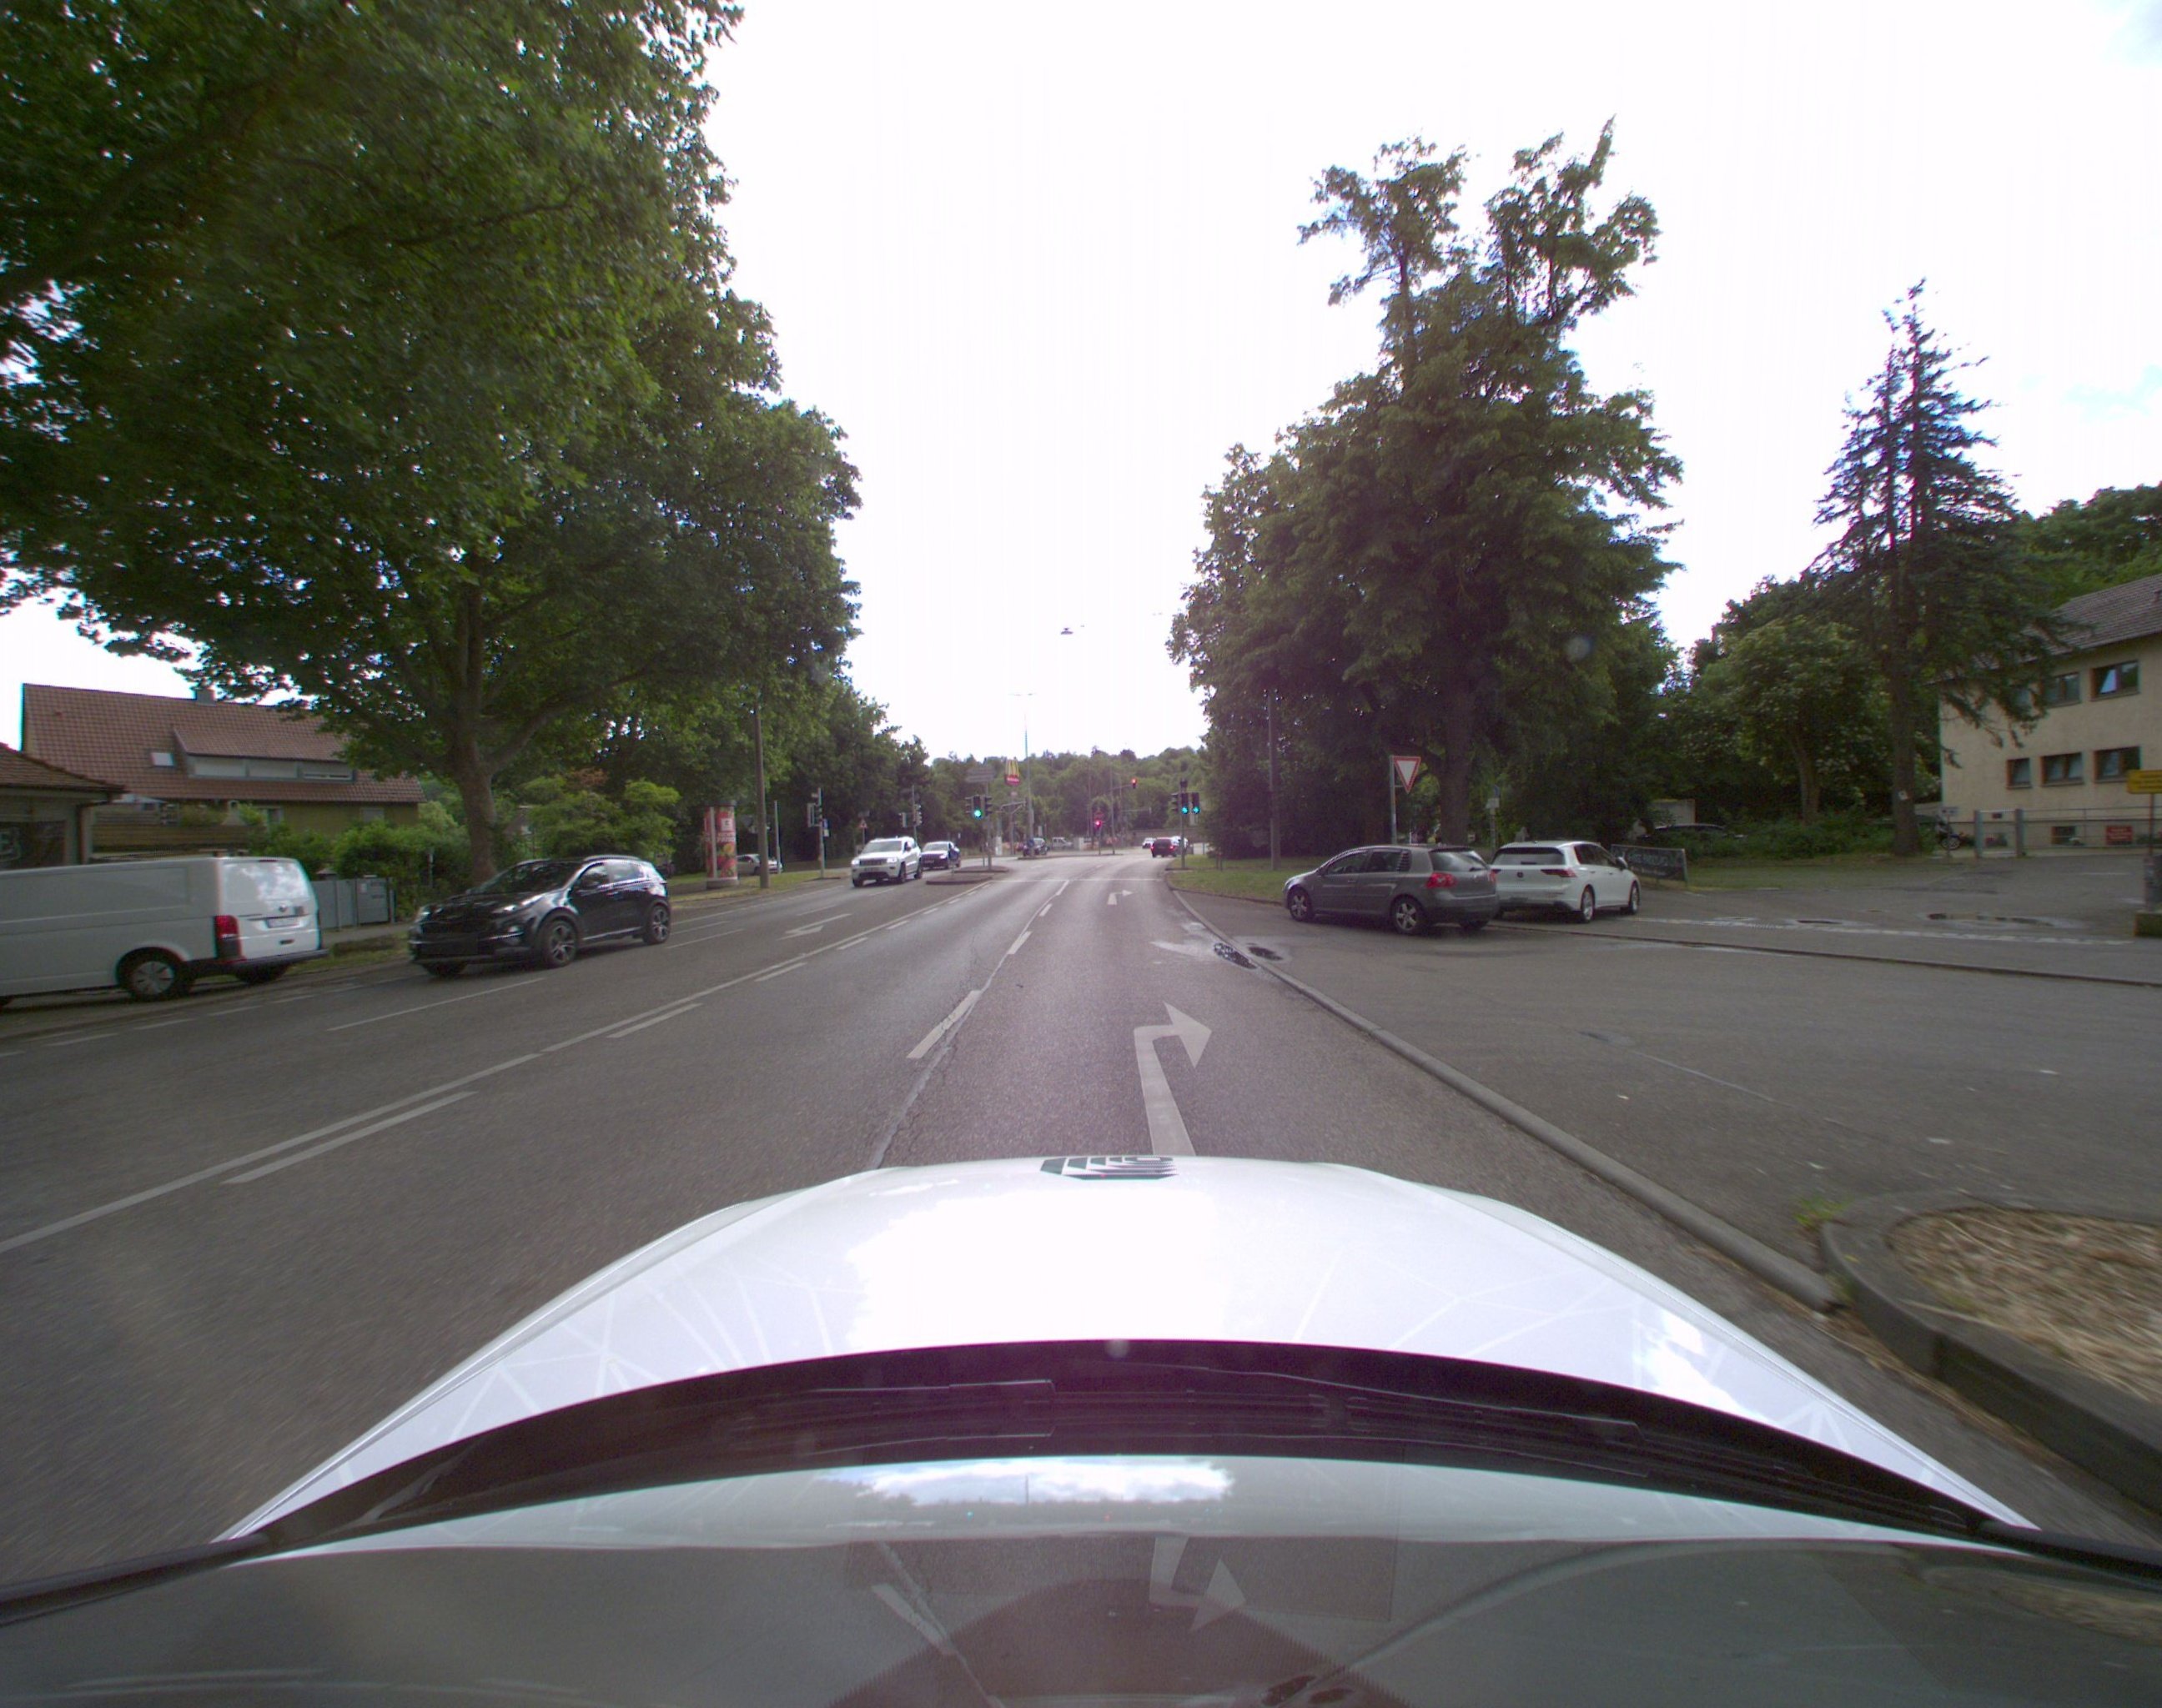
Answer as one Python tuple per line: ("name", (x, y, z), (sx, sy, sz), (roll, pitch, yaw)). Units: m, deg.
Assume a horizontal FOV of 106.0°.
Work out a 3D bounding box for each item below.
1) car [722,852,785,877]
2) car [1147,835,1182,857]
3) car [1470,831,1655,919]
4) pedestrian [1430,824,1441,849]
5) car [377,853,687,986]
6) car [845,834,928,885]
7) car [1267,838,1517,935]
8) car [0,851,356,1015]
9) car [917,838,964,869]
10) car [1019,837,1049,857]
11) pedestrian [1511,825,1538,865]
("car", (-21.497, 0.711, 53.506), (3.805, 1.479, 1.838), (-2, 1, 30))
("car", (6.343, -0.615, 61.190), (1.809, 1.509, 4.593), (-2, 0, 15))
("car", (9.199, 0.319, 15.417), (4.285, 1.380, 1.744), (-3, 1, -41))
("pedestrian", (21.877, -1.062, 50.275), (0.506, 1.531, 0.781), (-2, 0, 17))
("car", (-8.421, 0.873, 13.106), (1.790, 1.586, 4.416), (-5, 1, 1))
("car", (-7.624, 0.145, 32.474), (1.903, 1.763, 4.756), (-3, 1, 2))
("car", (5.382, 0.458, 14.653), (1.738, 1.429, 4.076), (-2, 2, -28))
("car", (-14.202, 1.130, 11.670), (5.229, 1.931, 2.076), (-5, 1, -11))
("car", (-7.316, -0.056, 42.743), (1.562, 1.382, 3.952), (-4, 2, 2))
("car", (-3.932, -0.629, 68.359), (1.557, 1.526, 3.201), (-2, 2, 13))
("pedestrian", (17.518, -0.370, 32.182), (0.680, 1.551, 0.744), (-2, 1, 7))
